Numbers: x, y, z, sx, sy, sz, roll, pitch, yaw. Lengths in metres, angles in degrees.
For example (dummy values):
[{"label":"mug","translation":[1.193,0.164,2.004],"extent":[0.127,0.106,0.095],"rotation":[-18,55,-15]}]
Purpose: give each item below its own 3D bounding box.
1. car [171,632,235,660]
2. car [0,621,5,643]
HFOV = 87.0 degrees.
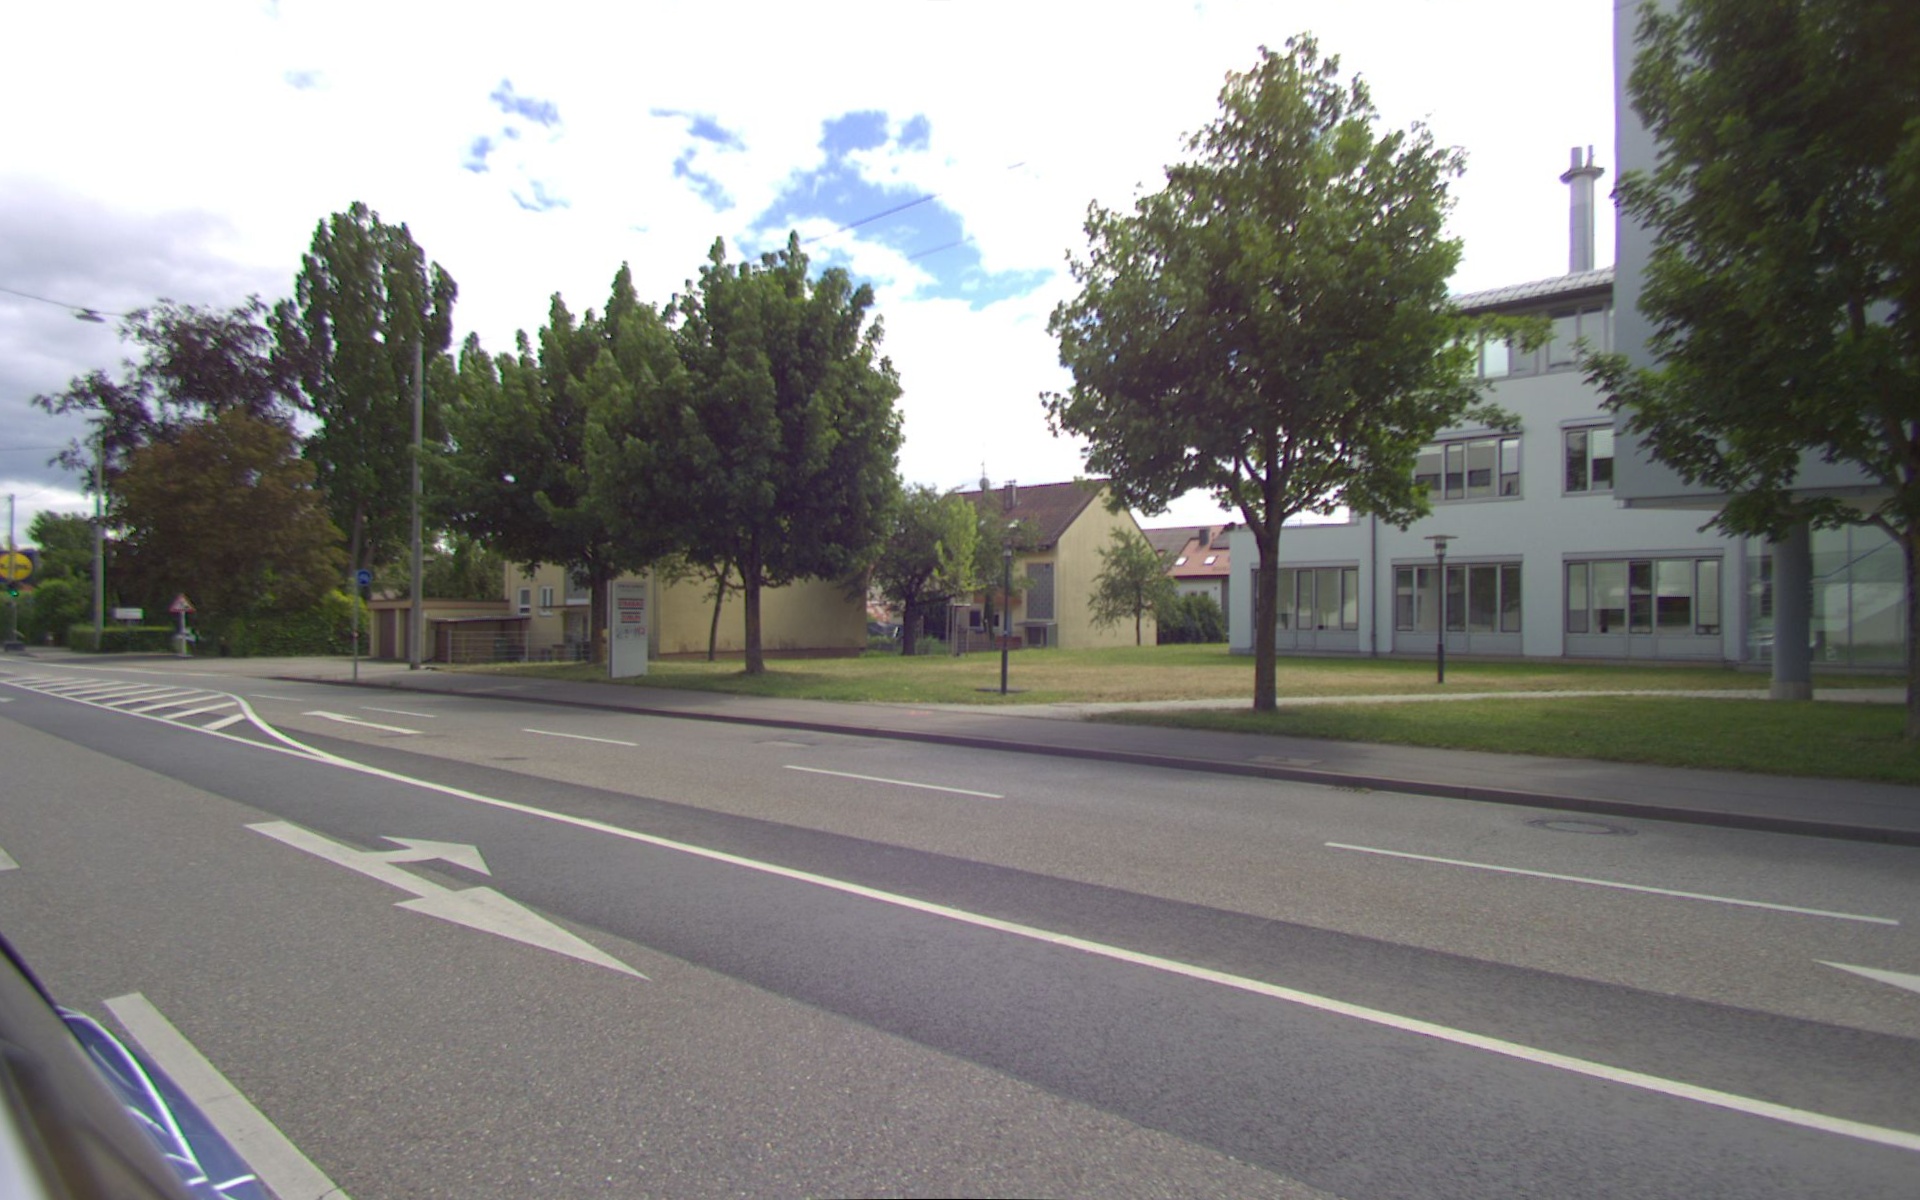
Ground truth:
[{"label":"car","translation":[-40.432,2.460,54.024],"extent":[3.514,1.399,1.647],"rotation":[0,-4,34]},{"label":"car","translation":[-80.125,2.701,81.707],"extent":[1.982,1.797,3.980],"rotation":[-1,1,16]}]
